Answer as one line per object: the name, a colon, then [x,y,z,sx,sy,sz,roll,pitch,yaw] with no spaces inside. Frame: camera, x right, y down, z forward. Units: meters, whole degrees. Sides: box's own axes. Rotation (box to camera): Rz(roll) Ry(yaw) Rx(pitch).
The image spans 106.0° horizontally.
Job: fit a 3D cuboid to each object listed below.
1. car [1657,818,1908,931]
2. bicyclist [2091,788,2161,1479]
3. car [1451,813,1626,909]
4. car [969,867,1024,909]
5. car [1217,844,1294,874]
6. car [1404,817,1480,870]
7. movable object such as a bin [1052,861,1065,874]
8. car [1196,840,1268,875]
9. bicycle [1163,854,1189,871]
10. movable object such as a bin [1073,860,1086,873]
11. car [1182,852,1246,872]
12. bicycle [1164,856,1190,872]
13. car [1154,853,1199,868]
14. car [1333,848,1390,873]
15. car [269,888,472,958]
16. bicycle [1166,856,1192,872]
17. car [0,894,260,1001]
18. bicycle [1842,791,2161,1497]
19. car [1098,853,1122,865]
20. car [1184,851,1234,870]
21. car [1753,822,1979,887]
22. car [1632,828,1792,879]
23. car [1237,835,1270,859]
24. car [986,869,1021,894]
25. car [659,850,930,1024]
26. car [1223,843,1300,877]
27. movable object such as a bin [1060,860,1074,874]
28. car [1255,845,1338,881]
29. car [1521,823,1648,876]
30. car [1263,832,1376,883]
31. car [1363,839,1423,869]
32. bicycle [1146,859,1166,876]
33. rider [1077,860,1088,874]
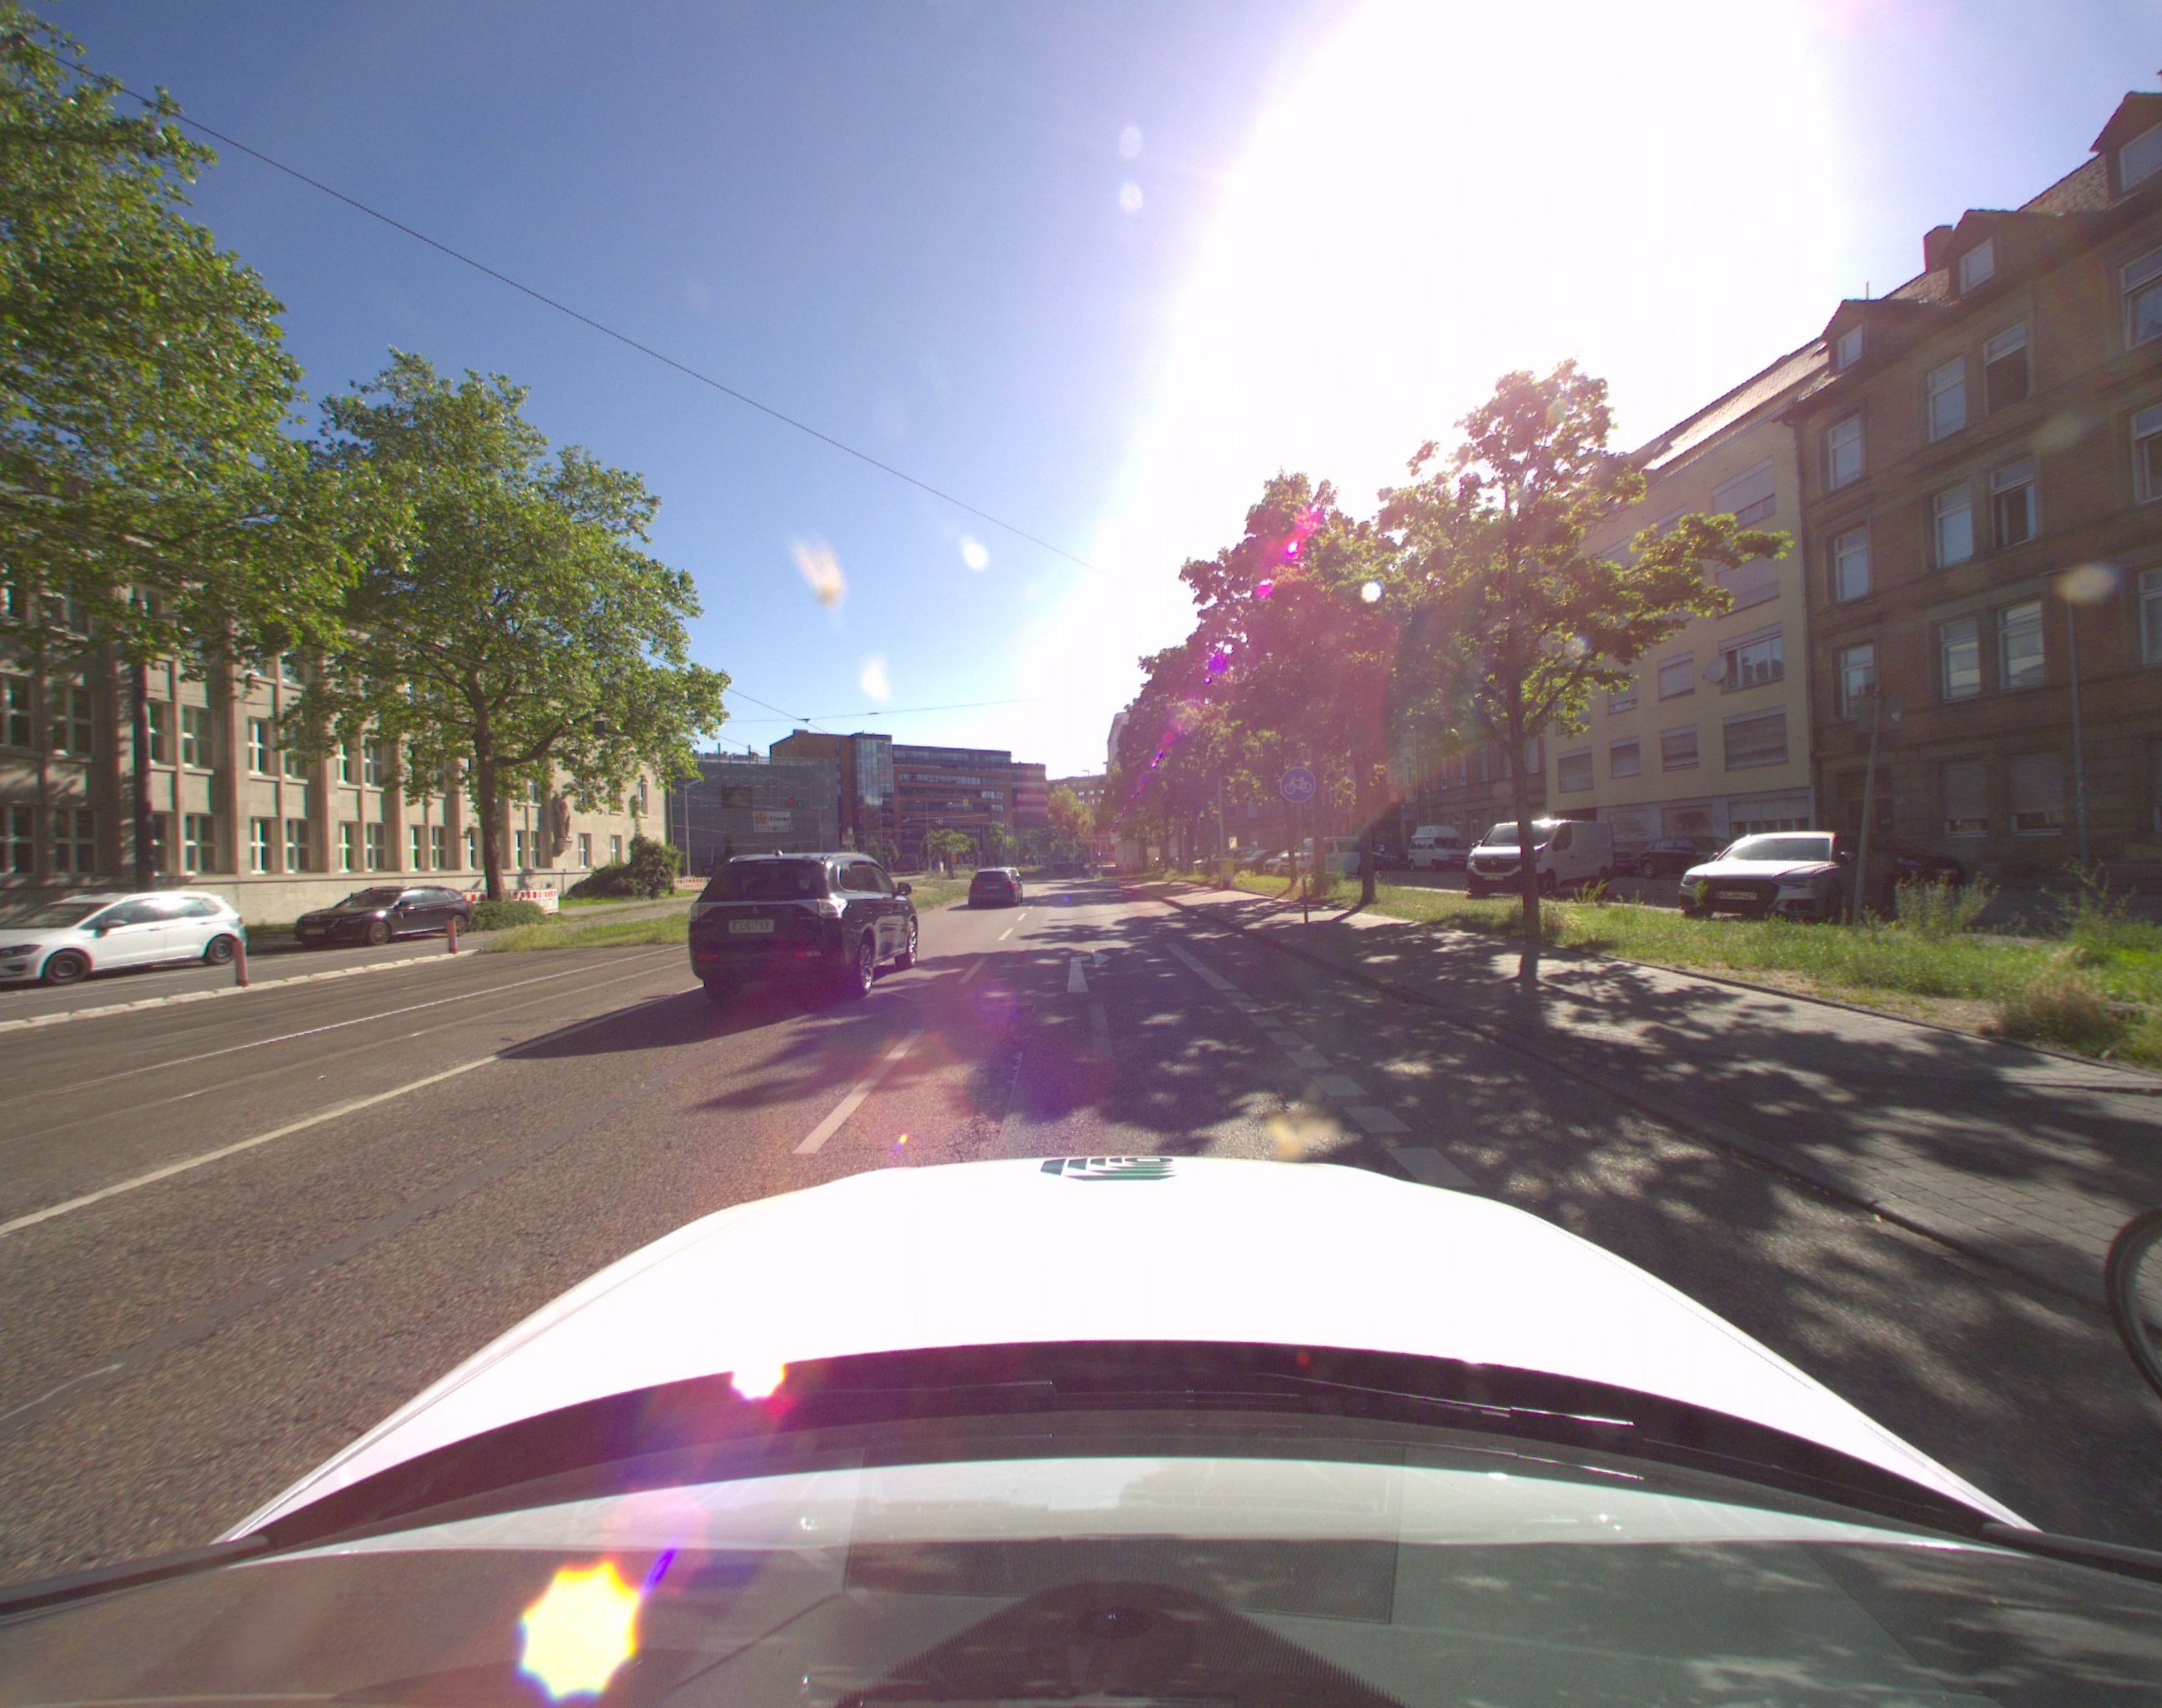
car: [12.057,0.263,13.890,4.901,1.435,1.999,-4,0,-34]
bicyclist: [2.749,0.656,1.618,0.436,1.639,0.779,-3,0,0]
car: [11.933,0.134,21.128,4.903,2.075,1.998,-4,0,-36]
car: [-3.089,1.270,30.593,1.729,1.423,4.463,0,-2,-2]
car: [11.750,0.333,54.839,4.897,1.648,2.080,-4,-1,-31]
car: [19.650,-0.569,44.542,1.987,2.585,4.513,-4,0,0]
movable object such as a bin: [-2.567,1.534,92.448,1.060,1.398,1.310,-3,0,19]
car: [10.671,0.235,57.343,4.902,2.013,2.078,-4,-1,-35]
bicycle: [8.416,0.785,72.047,2.095,1.398,0.784,-2,-1,-13]
movable object such as a bin: [-0.154,1.445,92.112,1.020,1.398,1.096,-3,0,19]
car: [10.357,0.622,63.296,4.773,1.380,2.024,-2,0,-35]
bicycle: [7.968,0.856,67.373,1.952,1.192,0.841,-4,-1,-2]
car: [9.583,0.634,81.422,4.063,1.337,1.824,-2,0,-25]
car: [19.363,0.405,56.471,1.990,1.529,4.505,-4,0,-5]
car: [-19.131,1.796,22.231,1.824,1.492,4.181,-3,0,0]
bicycle: [7.995,0.844,66.450,1.939,1.180,0.899,-4,-1,-2]
car: [-18.998,1.723,15.735,1.825,1.587,4.392,-4,0,-2]
bicycle: [2.724,0.673,1.699,0.436,1.639,1.938,0,0,0]
car: [5.342,0.957,148.638,3.958,2.014,2.008,-3,-1,14]
car: [12.192,0.643,77.424,4.487,1.565,1.918,-2,0,-33]
car: [20.329,0.001,21.392,1.723,1.420,4.291,-3,0,-1]
car: [20.332,-0.018,26.488,1.873,1.420,4.162,-4,0,-1]
car: [18.377,-0.768,87.049,2.342,2.357,5.186,-4,0,0]
car: [-4.626,1.654,48.494,1.634,1.423,3.765,0,-2,-12]
car: [-3.302,0.868,10.479,1.830,1.682,4.641,-2,-1,-1]
car: [11.351,0.391,51.222,4.528,1.727,1.980,-4,-1,-31]
movable object such as a bin: [-1.578,1.462,92.060,1.098,1.398,1.327,-3,0,19]
car: [11.015,0.465,41.561,4.048,1.478,1.793,-4,-1,-35]
car: [19.767,-0.178,32.270,1.988,1.799,4.623,-4,0,-2]
car: [11.425,0.167,38.956,5.205,2.013,2.080,-4,-1,-31]
car: [19.537,0.021,51.236,1.987,1.691,4.512,-3,0,0]
bicycle: [6.143,1.076,66.488,0.760,1.290,1.608,-4,0,38]
rider: [0.118,1.202,73.096,0.498,1.176,1.683,-3,0,16]
